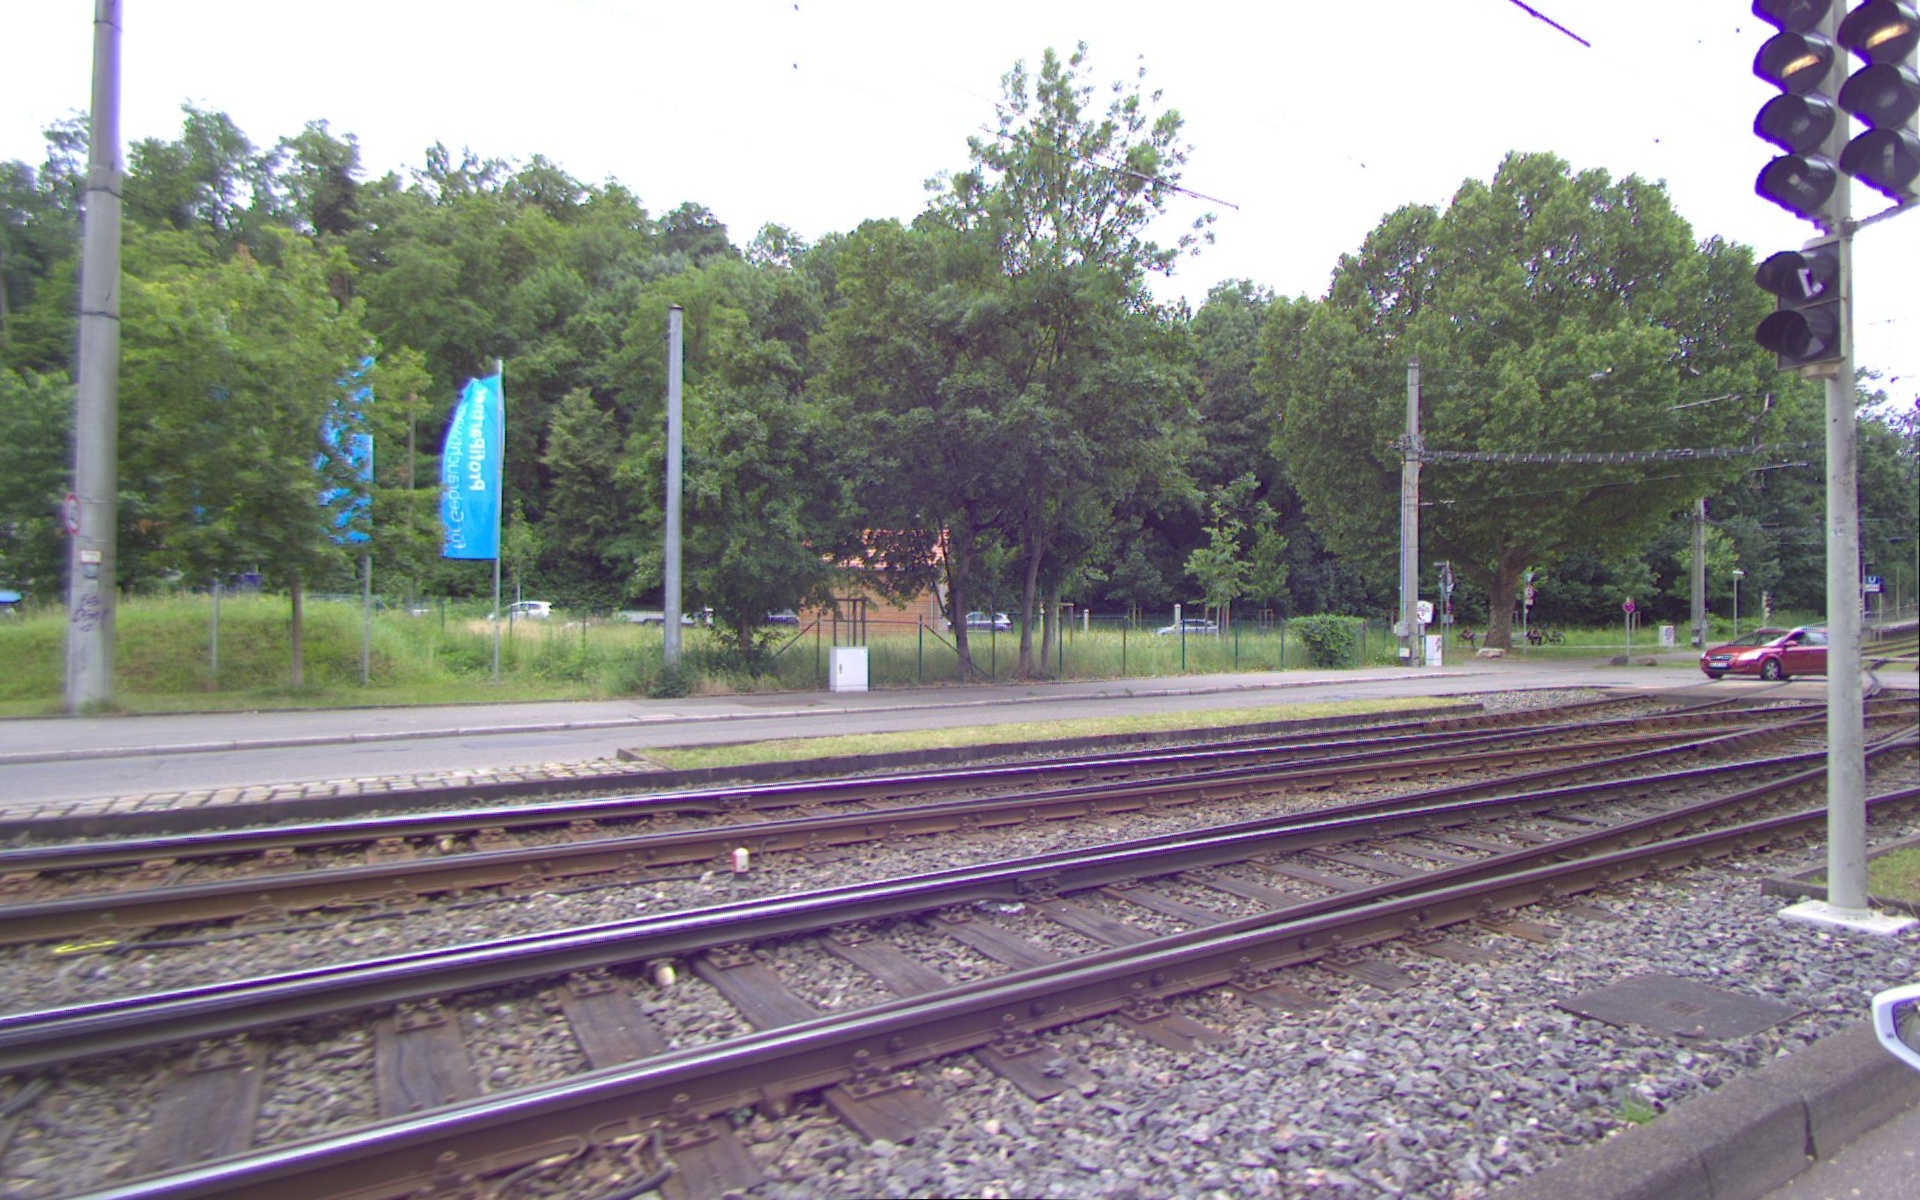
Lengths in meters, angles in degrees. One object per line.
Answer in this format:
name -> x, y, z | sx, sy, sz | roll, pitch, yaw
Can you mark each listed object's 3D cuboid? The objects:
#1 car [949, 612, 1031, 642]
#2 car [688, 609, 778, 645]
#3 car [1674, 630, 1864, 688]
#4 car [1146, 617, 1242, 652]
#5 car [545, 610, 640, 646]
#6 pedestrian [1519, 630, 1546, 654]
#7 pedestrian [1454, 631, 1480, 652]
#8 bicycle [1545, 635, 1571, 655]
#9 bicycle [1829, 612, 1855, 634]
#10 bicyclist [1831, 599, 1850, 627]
car -> 1.642, 1.516, 56.039 | 4.320, 1.603, 1.998 | 1, -1, -6
car -> -11.127, 1.320, 49.413 | 3.921, 1.684, 2.000 | 0, -1, 0
car -> 23.608, 1.707, 29.381 | 4.422, 1.535, 1.995 | 1, 0, -12
car -> 13.390, 1.958, 57.693 | 4.984, 1.914, 2.355 | 0, -1, -2
car -> -17.971, 1.354, 49.253 | 3.921, 1.684, 2.000 | 0, -1, 0
pedestrian -> 33.585, 2.463, 58.946 | 1.035, 1.285, 1.117 | 3, 0, 9
pedestrian -> 29.554, 2.404, 58.548 | 1.059, 1.110, 0.906 | 3, 0, 6
bicycle -> 34.972, 2.630, 58.754 | 0.662, 1.025, 1.654 | 3, 0, 8
bicycle -> 61.064, 1.566, 69.520 | 2.969, 1.361, 0.818 | -2, 1, -38
bicyclist -> 60.757, 0.883, 69.292 | 1.042, 1.874, 0.815 | -2, 1, -37
